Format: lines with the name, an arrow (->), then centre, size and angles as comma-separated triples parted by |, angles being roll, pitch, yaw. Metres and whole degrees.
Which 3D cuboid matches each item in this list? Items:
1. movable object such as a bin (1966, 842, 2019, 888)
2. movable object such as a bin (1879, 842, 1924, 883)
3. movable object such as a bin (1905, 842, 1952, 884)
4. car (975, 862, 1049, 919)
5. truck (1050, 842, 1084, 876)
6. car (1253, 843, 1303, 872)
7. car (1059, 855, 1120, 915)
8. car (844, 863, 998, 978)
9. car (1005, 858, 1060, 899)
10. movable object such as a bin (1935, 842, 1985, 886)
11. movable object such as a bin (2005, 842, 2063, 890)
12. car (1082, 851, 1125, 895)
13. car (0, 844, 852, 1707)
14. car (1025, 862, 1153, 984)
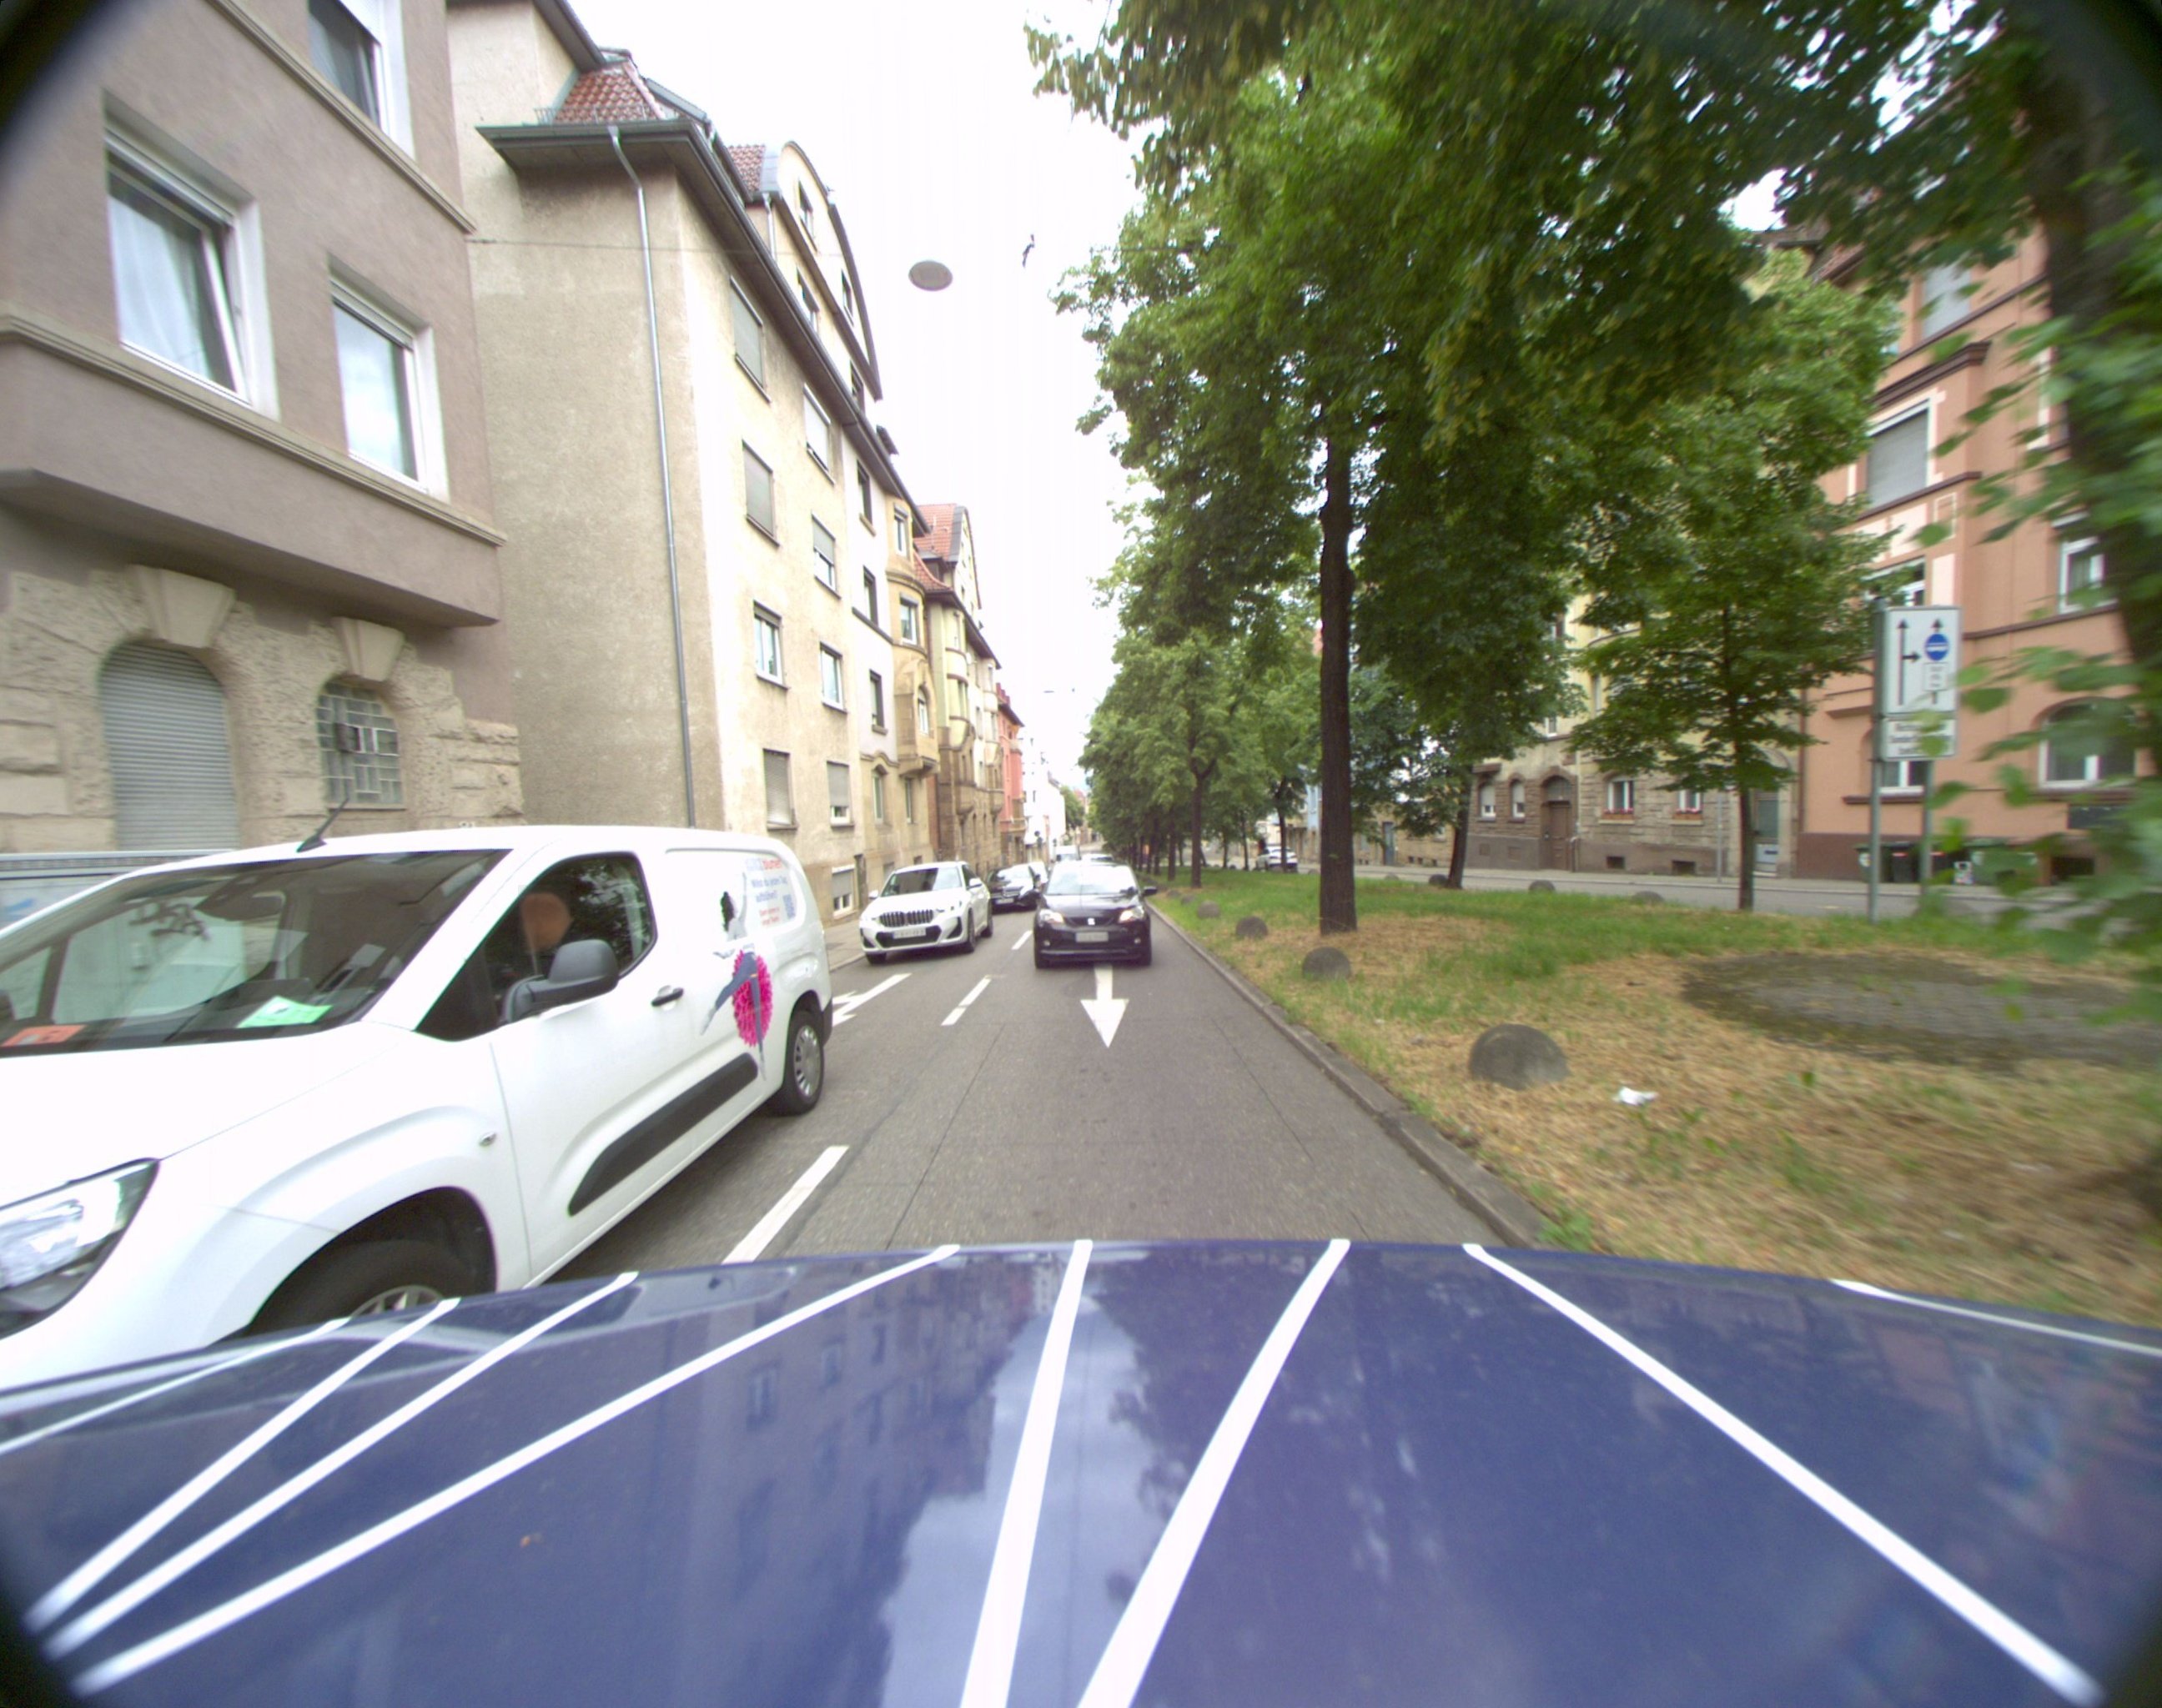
movable object such as a bin -> 17.848, 0.207, 14.879 | 0.487, 0.860, 0.449 | -2, 1, 7
movable object such as a bin -> 17.933, 0.184, 16.617 | 0.487, 0.860, 0.449 | -2, 1, 7
movable object such as a bin -> 17.885, 0.192, 16.044 | 0.487, 0.860, 0.449 | -2, 1, 7
car -> -2.070, 1.085, 24.031 | 1.780, 1.433, 4.163 | -6, 0, 1
truck -> -1.206, 0.351, 70.508 | 2.552, 2.891, 7.777 | -2, 1, 3
car -> 12.480, 0.177, 48.446 | 1.942, 1.625, 4.518 | -4, 1, 1
car -> 0.236, 0.917, 24.027 | 1.784, 1.584, 3.532 | -1, 2, -1
car -> -2.768, 1.080, 14.145 | 1.780, 1.598, 4.163 | -6, 0, 1
car -> -1.977, 0.963, 32.015 | 1.841, 1.477, 4.000 | -2, 1, 3
movable object such as a bin -> 17.903, 0.198, 15.487 | 0.487, 0.860, 0.449 | -2, 1, 7
movable object such as a bin -> 17.762, 0.218, 14.168 | 0.487, 0.860, 0.449 | -2, 1, 7
car -> 0.889, 0.746, 31.396 | 1.696, 1.584, 3.532 | -1, 2, 0
car -> -2.630, 0.921, 3.112 | 1.788, 1.779, 4.843 | -5, 1, 0
car -> 0.126, 0.917, 11.677 | 1.604, 1.448, 3.684 | -2, 1, 1
